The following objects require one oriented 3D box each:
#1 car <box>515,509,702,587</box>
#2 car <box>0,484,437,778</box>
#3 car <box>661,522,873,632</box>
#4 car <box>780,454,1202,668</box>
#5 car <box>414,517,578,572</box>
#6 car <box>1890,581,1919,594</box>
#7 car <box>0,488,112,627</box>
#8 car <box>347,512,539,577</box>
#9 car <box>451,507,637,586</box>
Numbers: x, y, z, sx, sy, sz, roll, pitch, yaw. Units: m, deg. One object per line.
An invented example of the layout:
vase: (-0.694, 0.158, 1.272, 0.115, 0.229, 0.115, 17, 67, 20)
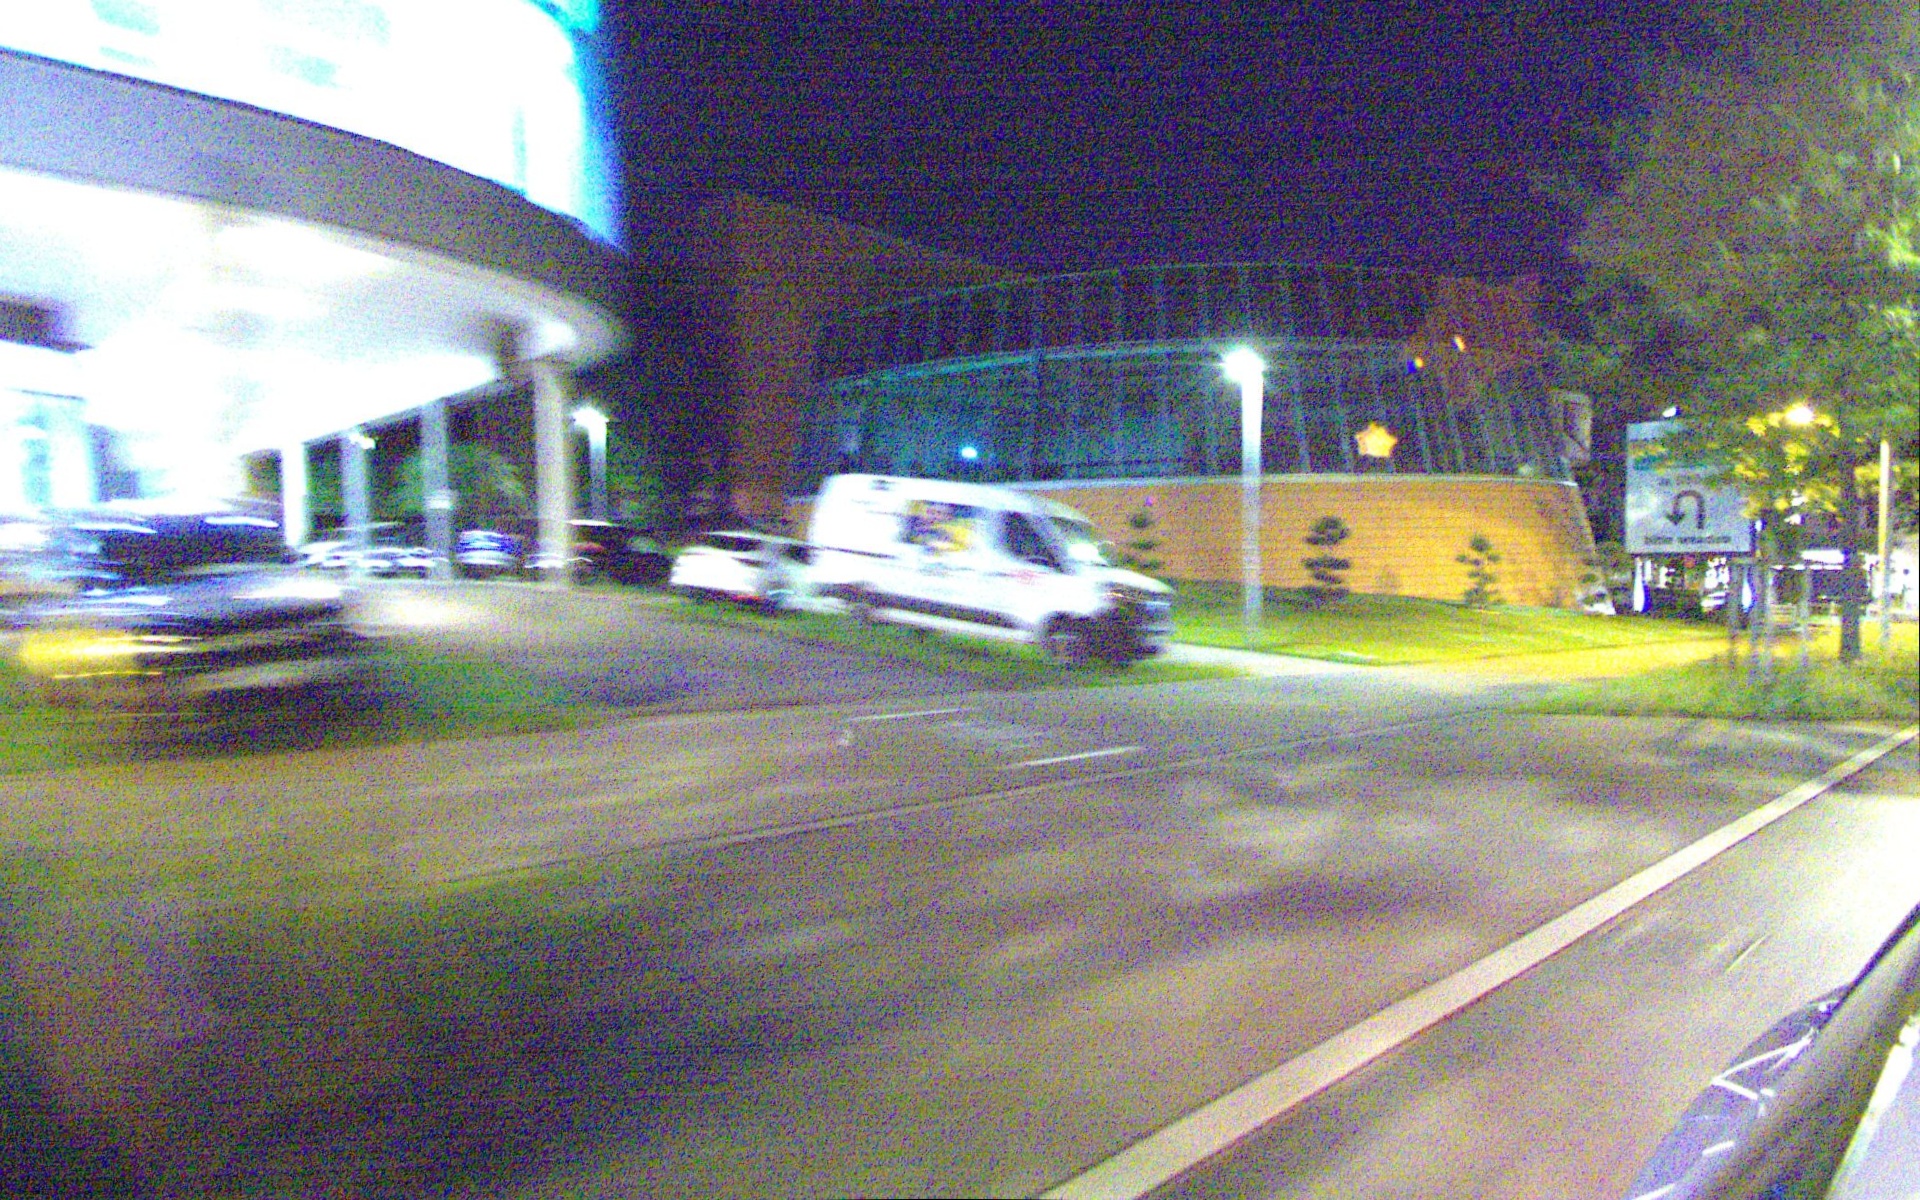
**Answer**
car: (-7.939, -1.163, 23.197, 1.782, 1.597, 3.932, 3, 3, 26)
car: (-6.004, 0.032, 7.849, 4.196, 1.683, 1.934, 5, 4, 39)
car: (-3.403, -0.467, 18.548, 1.793, 1.732, 3.933, 3, 3, 26)
car: (0.317, -0.737, 15.384, 5.996, 2.559, 2.257, 7, 4, 33)
car: (-12.315, -1.466, 27.114, 1.641, 1.352, 3.844, 3, 3, 26)
car: (84.590, -1.091, 88.959, 3.934, 1.047, 1.481, 2, 1, 9)
car: (-11.531, -0.427, 10.278, 1.692, 1.528, 4.437, 3, 5, 9)
car: (-14.626, -1.521, 28.929, 1.980, 1.682, 4.627, 0, 2, 26)
car: (-9.908, -1.270, 24.389, 1.766, 1.620, 3.933, 6, 4, 26)
